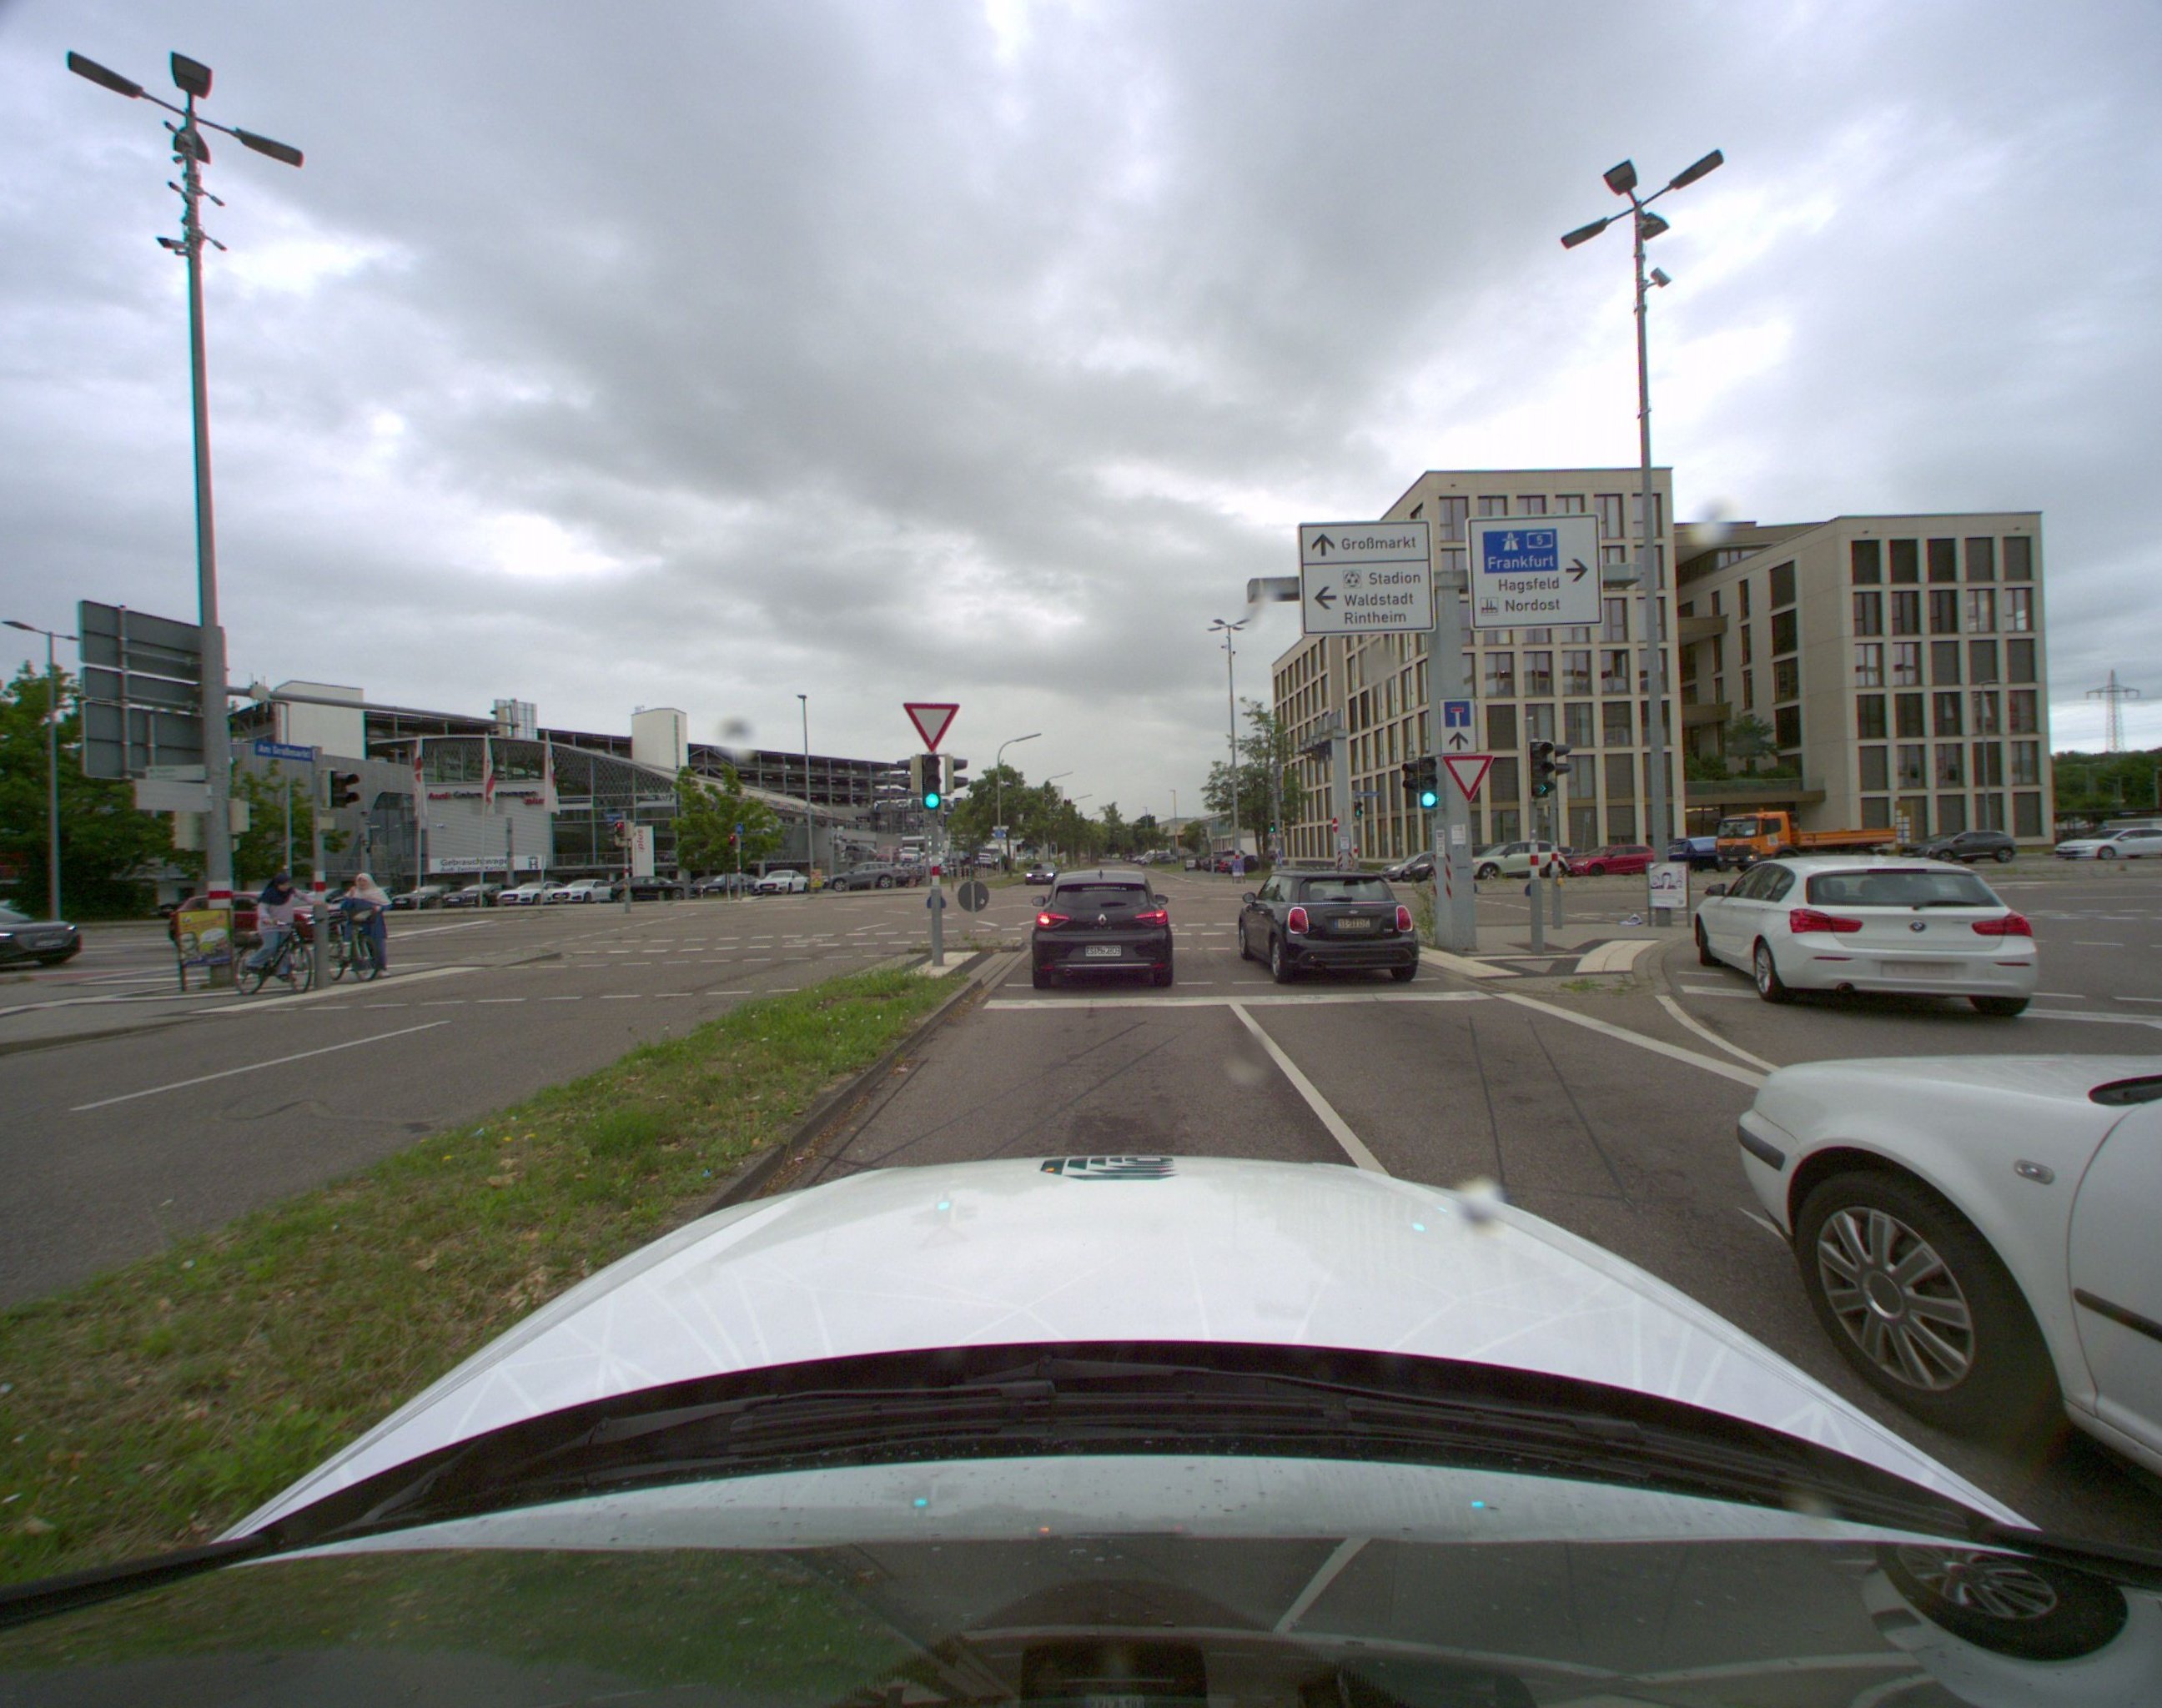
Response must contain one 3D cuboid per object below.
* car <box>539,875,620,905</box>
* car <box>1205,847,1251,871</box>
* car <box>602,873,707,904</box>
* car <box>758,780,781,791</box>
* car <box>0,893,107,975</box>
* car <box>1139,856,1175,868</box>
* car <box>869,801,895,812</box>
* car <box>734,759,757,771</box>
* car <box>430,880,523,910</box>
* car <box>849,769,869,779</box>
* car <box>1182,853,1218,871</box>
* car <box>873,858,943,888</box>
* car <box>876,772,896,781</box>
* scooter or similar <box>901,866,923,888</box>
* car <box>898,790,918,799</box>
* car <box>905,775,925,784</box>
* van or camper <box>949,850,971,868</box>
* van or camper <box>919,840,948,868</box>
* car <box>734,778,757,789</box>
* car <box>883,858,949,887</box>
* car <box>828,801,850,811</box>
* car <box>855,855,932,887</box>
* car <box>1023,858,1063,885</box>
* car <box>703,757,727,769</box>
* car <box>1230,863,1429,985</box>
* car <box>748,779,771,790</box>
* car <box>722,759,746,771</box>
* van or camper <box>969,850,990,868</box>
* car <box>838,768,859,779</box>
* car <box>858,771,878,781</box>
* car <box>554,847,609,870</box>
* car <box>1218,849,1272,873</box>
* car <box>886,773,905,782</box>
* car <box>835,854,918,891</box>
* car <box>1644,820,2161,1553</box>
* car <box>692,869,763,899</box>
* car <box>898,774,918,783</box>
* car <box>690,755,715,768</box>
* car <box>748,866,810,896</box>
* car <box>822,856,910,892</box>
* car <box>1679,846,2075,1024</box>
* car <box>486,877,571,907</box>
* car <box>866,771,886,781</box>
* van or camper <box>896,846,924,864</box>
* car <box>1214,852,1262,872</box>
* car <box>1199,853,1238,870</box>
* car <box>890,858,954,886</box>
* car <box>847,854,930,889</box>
[{"bbox_3d":[-27.319,1.996,44.501,1.841,1.486,4.196,-2,-3,-1],"label":"car"},{"bbox_3d":[13.043,0.439,72.228,1.975,1.965,4.270,-3,-2,44],"label":"car"},{"bbox_3d":[-23.520,1.918,45.023,4.726,1.486,1.891,-2,-3,-1],"label":"car"},{"bbox_3d":[-57.272,-12.561,149.922,3.948,1.667,2.013,-1,-1,34],"label":"car"},{"bbox_3d":[-26.053,1.917,18.882,4.311,1.636,1.884,-3,3,-4],"label":"car"},{"bbox_3d":[11.295,1.234,121.633,5.157,1.720,2.143,0,-1,-1],"label":"car"},{"bbox_3d":[-42.761,-10.241,174.829,5.263,1.945,2.225,-1,-1,30],"label":"car"},{"bbox_3d":[-60.189,-15.937,146.157,3.948,1.667,2.013,-1,-1,34],"label":"car"},{"bbox_3d":[-32.631,2.209,44.103,1.860,1.486,4.230,-2,-3,-1],"label":"car"},{"bbox_3d":[-45.749,-16.390,167.752,3.948,1.667,2.013,-1,-1,34],"label":"car"},{"bbox_3d":[11.993,0.814,81.977,3.451,1.732,1.745,1,-2,-40],"label":"car"},{"bbox_3d":[-13.402,1.468,63.237,4.881,2.014,1.998,-4,-1,-3],"label":"car"},{"bbox_3d":[-41.705,-16.570,174.450,3.948,1.667,2.013,-1,-1,34],"label":"car"},{"bbox_3d":[-9.724,1.315,46.929,0.553,1.219,1.567,1,0,16],"label":"scooter or similar"},{"bbox_3d":[-38.141,-13.170,179.577,3.948,1.667,2.013,-1,-1,34],"label":"car"},{"bbox_3d":[-37.033,-16.670,181.727,3.948,1.667,2.013,-1,-1,34],"label":"car"},{"bbox_3d":[-13.836,0.578,93.488,1.988,2.014,3.997,0,-1,-1],"label":"van or camper"},{"bbox_3d":[-16.827,0.048,93.278,2.529,3.027,4.840,0,-1,-1],"label":"van or camper"},{"bbox_3d":[-60.056,-12.618,145.859,3.948,1.667,2.013,-1,-1,34],"label":"car"},{"bbox_3d":[-13.299,1.491,65.956,4.881,2.014,1.998,-4,-1,-3],"label":"car"},{"bbox_3d":[-48.534,-9.664,163.305,3.948,1.667,2.013,-1,-1,34],"label":"car"},{"bbox_3d":[-13.295,1.212,57.923,4.938,1.876,2.051,-4,-1,-5],"label":"car"},{"bbox_3d":[-2.340,1.087,51.374,1.970,1.551,4.618,-2,0,3],"label":"car"},{"bbox_3d":[-63.638,-15.791,141.594,3.948,1.667,2.013,-1,-1,34],"label":"car"},{"bbox_3d":[3.234,0.859,11.340,1.779,1.416,3.645,0,-1,2],"label":"car"},{"bbox_3d":[-58.371,-12.588,147.963,3.948,1.667,2.013,-1,-1,34],"label":"car"},{"bbox_3d":[-61.327,-15.758,144.005,3.948,1.667,2.013,-1,-1,34],"label":"car"},{"bbox_3d":[-11.637,0.566,93.614,1.988,2.014,3.997,0,-1,-1],"label":"van or camper"},{"bbox_3d":[-47.208,-16.343,165.491,3.948,1.667,2.013,-1,-1,34],"label":"car"},{"bbox_3d":[-44.558,-16.389,170.344,3.948,1.667,2.013,-1,-1,34],"label":"car"},{"bbox_3d":[-37.422,0.369,61.109,1.815,1.662,3.996,0,-1,-3],"label":"car"},{"bbox_3d":[13.007,0.566,64.630,4.153,1.768,1.867,-1,-1,-38],"label":"car"},{"bbox_3d":[-40.216,-16.535,176.516,3.948,1.667,2.013,-1,-1,34],"label":"car"},{"bbox_3d":[-13.069,1.171,52.275,4.690,2.014,1.998,-4,-1,-3],"label":"car"},{"bbox_3d":[3.073,0.656,1.192,1.825,1.478,4.006,0,-1,2],"label":"car"},{"bbox_3d":[-19.471,1.699,45.095,2.058,1.486,4.511,-3,-3,-3],"label":"car"},{"bbox_3d":[-38.220,-16.651,179.816,3.948,1.667,2.013,-1,-1,34],"label":"car"},{"bbox_3d":[-64.848,-15.826,139.453,3.948,1.667,2.013,-1,-1,34],"label":"car"},{"bbox_3d":[-16.668,1.507,45.205,1.863,1.486,4.227,-3,-2,-1],"label":"car"},{"bbox_3d":[-13.062,1.198,49.702,4.761,1.863,1.998,-4,-1,-3],"label":"car"},{"bbox_3d":[8.001,0.683,8.756,1.812,1.410,4.222,-1,-1,26],"label":"car"},{"bbox_3d":[-29.883,2.103,44.231,1.865,1.486,4.041,-2,-3,-1],"label":"car"},{"bbox_3d":[-43.321,-16.441,172.288,3.948,1.667,2.013,-1,-1,34],"label":"car"},{"bbox_3d":[-17.230,0.130,82.235,1.988,1.651,3.997,0,-1,-2],"label":"van or camper"},{"bbox_3d":[13.344,0.659,69.010,4.157,1.551,1.866,-1,-2,-43],"label":"car"},{"bbox_3d":[12.787,0.671,75.638,3.840,1.511,1.676,-1,-2,-45],"label":"car"},{"bbox_3d":[-13.395,1.550,68.792,4.881,2.014,1.998,-4,-1,-3],"label":"car"},{"bbox_3d":[-12.976,1.169,55.283,5.011,2.014,2.264,-4,-1,-3],"label":"car"}]
